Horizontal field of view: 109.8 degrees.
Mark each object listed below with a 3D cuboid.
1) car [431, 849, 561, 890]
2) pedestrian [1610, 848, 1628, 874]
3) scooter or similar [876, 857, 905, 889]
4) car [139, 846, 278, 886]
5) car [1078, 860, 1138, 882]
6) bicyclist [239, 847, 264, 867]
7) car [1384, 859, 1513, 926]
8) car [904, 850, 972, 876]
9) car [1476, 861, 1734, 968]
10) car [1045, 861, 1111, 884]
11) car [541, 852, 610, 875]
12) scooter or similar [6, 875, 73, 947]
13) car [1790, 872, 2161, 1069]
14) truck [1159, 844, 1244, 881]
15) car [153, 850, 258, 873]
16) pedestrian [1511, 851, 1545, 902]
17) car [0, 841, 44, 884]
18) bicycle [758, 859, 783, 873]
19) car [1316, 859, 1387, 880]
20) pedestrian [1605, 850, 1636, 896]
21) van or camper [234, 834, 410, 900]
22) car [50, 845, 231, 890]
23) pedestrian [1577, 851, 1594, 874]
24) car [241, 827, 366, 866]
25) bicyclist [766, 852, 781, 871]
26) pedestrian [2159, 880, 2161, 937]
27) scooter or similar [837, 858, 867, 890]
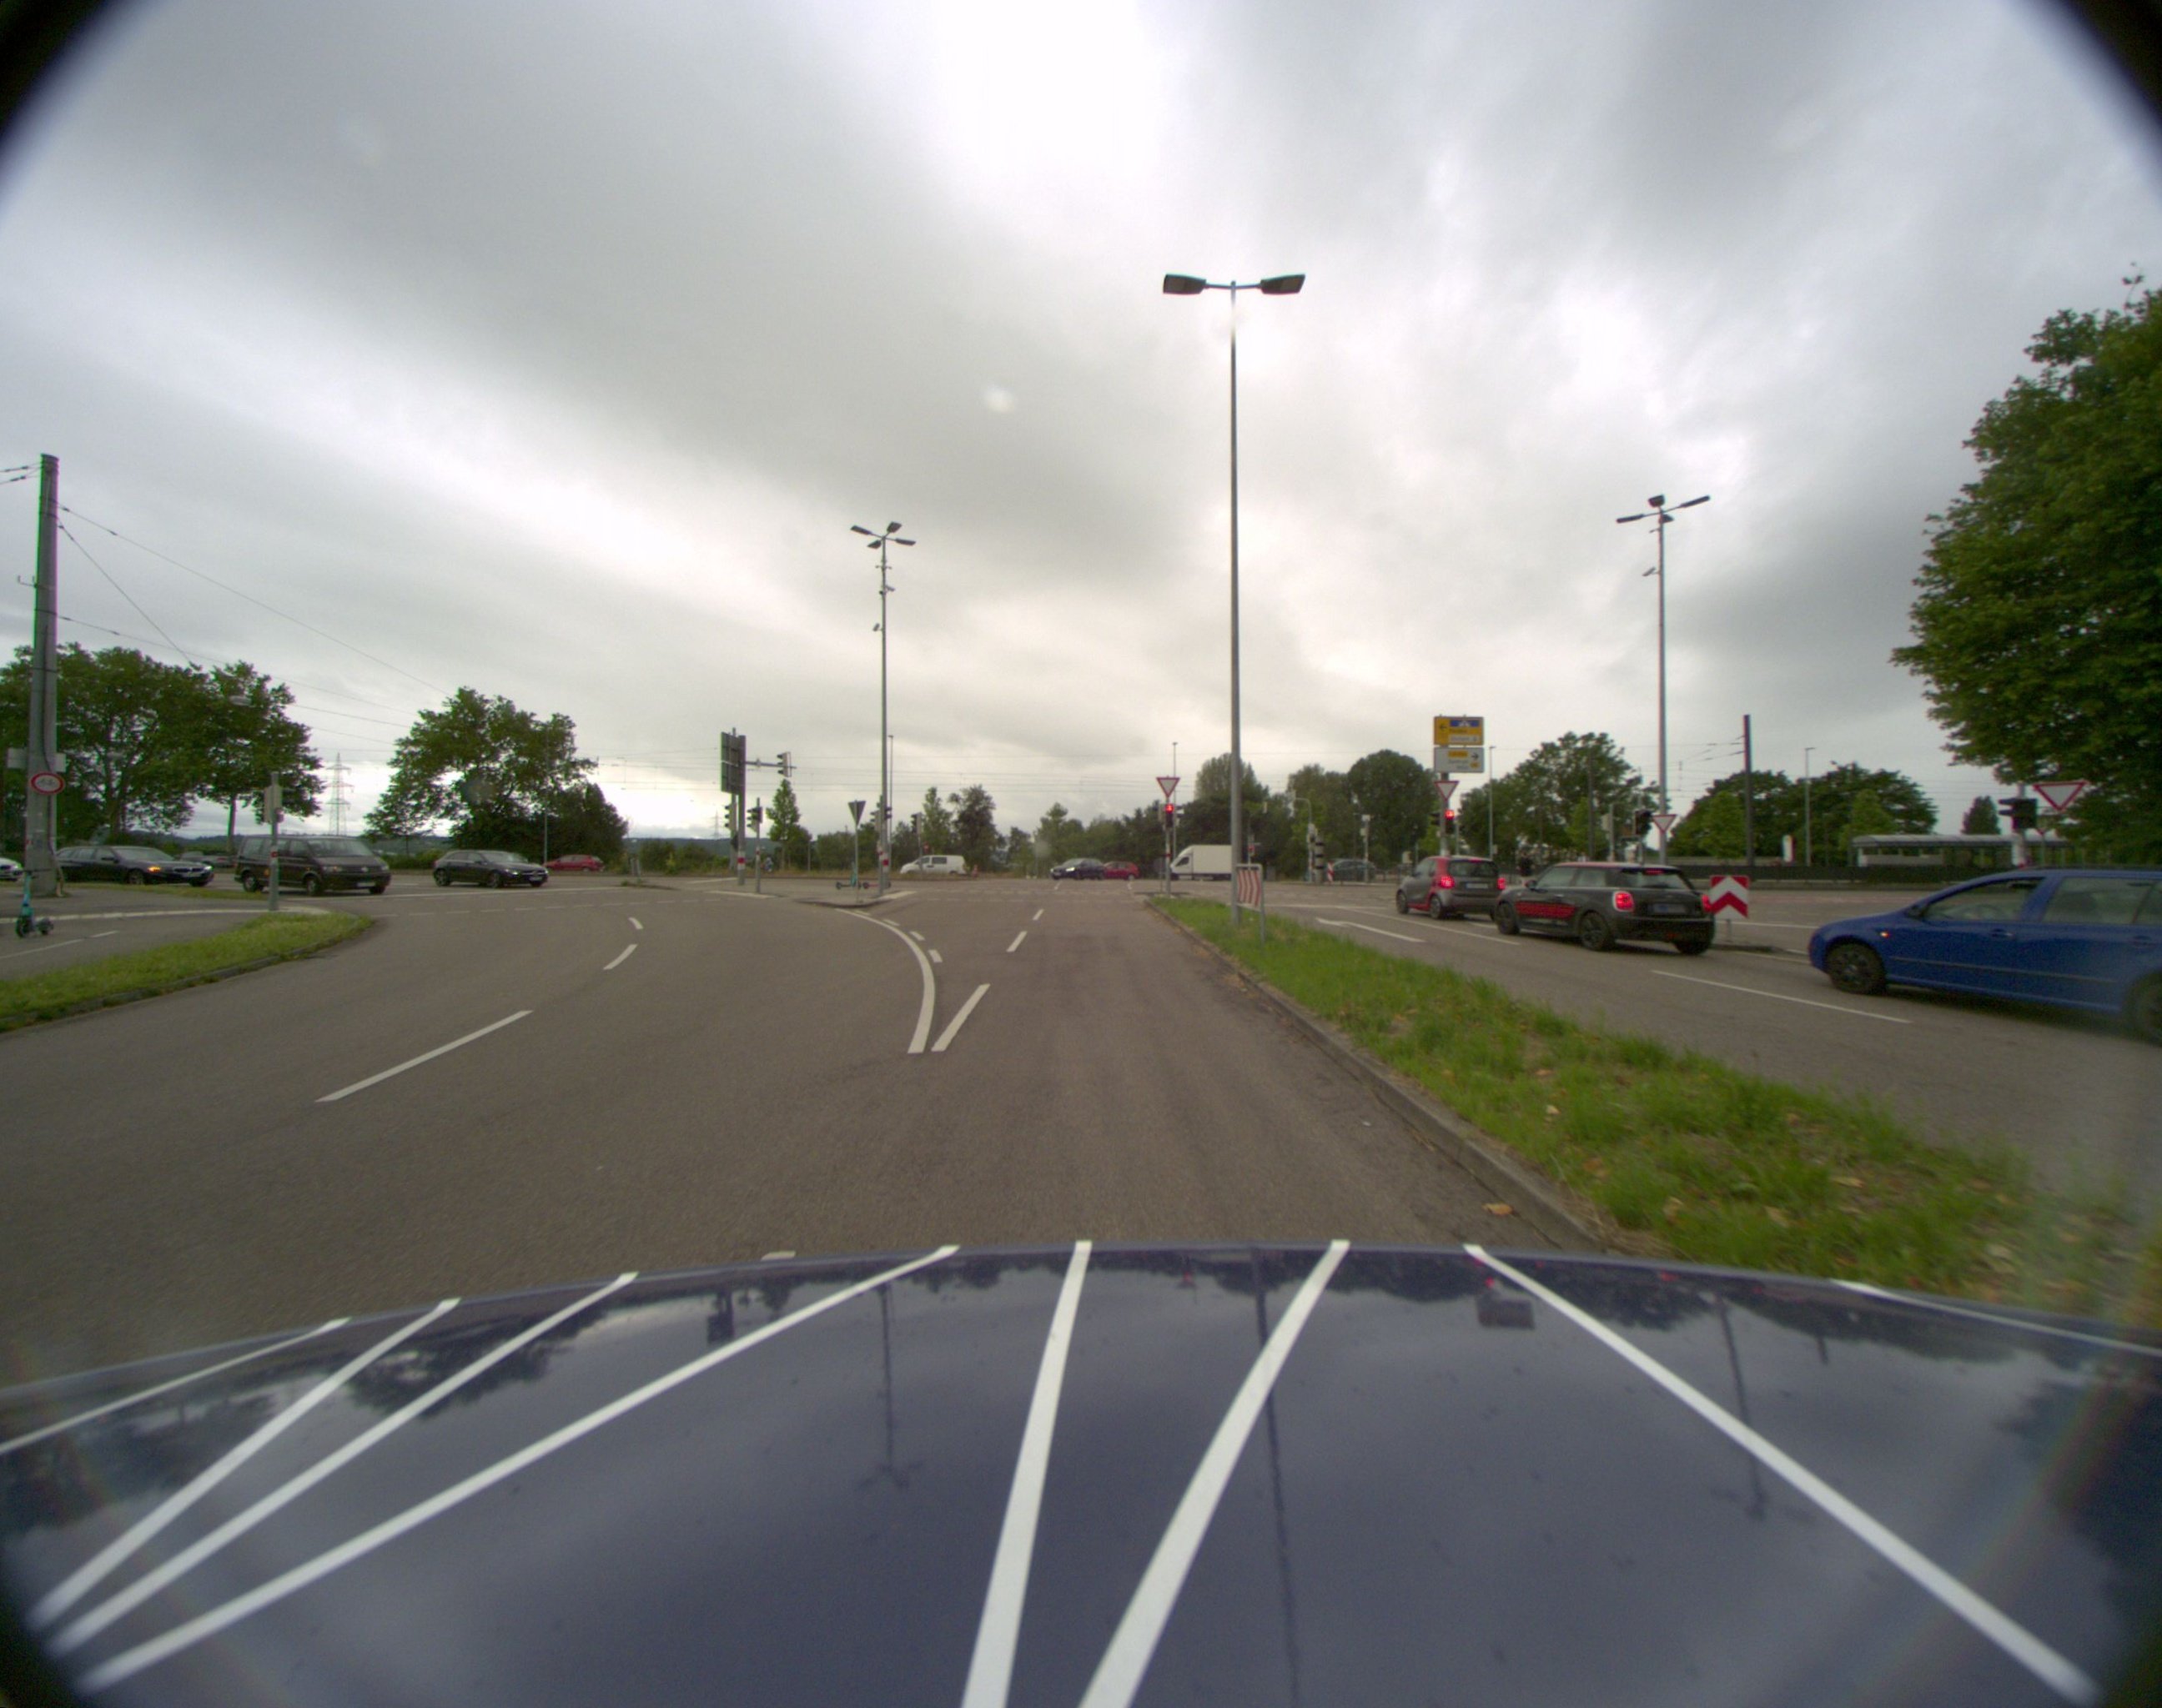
[{"bbox_3d":[-23.133,0.578,30.087,4.199,1.455,1.839,2,1,13],"label":"car"},{"bbox_3d":[36.236,0.505,51.172,0.586,1.731,0.788,-1,-2,3],"label":"pedestrian"},{"bbox_3d":[-7.625,0.768,30.428,1.016,1.248,0.465,1,1,14],"label":"scooter or similar"},{"bbox_3d":[-39.582,0.517,34.549,3.997,1.718,2.000,-1,0,0],"label":"car"},{"bbox_3d":[2.029,1.304,57.764,4.248,1.641,1.784,1,-2,-8],"label":"car"},{"bbox_3d":[-62.451,0.247,57.216,0.999,1.470,0.819,2,0,-2],"label":"bicyclist"},{"bbox_3d":[8.961,0.887,18.810,1.606,1.494,3.209,0,0,-1],"label":"car"},{"bbox_3d":[-11.217,0.731,59.808,5.121,1.868,2.099,1,-2,-10],"label":"car"},{"bbox_3d":[8.811,0.916,13.279,1.666,1.494,4.065,2,0,0],"label":"car"},{"bbox_3d":[-0.131,1.153,48.403,1.994,1.382,4.353,0,0,37],"label":"car"},{"bbox_3d":[-36.531,0.696,55.033,3.771,1.551,1.655,1,-2,-9],"label":"car"},{"bbox_3d":[-18.926,1.004,13.826,0.347,1.226,1.162,-2,2,-37],"label":"scooter or similar"},{"bbox_3d":[9.141,0.953,6.839,1.606,1.436,4.143,2,0,0],"label":"car"},{"bbox_3d":[9.772,0.738,62.252,6.539,2.905,2.829,0,-2,1],"label":"truck"},{"bbox_3d":[-57.321,0.490,49.838,4.343,1.382,1.876,1,-2,-6],"label":"car"},{"bbox_3d":[16.273,0.806,27.668,0.664,1.756,0.686,2,4,-2],"label":"pedestrian"},{"bbox_3d":[-40.378,0.294,27.221,4.043,1.529,1.734,0,-2,1],"label":"car"},{"bbox_3d":[-24.824,0.975,60.766,1.710,1.040,0.548,1,2,-12],"label":"bicycle"},{"bbox_3d":[18.802,1.070,52.920,4.369,1.400,1.678,-1,-2,-1],"label":"car"},{"bbox_3d":[20.074,0.708,28.283,0.675,1.702,0.766,0,1,5],"label":"pedestrian"},{"bbox_3d":[-25.340,0.355,25.403,4.743,2.002,2.126,1,2,17],"label":"van or camper"},{"bbox_3d":[-33.003,0.459,26.740,4.316,1.455,1.970,1,0,6],"label":"car"},{"bbox_3d":[33.671,0.570,50.681,0.632,1.550,0.711,-1,-2,2],"label":"pedestrian"},{"bbox_3d":[-55.879,-0.499,54.757,5.897,2.609,2.665,1,-2,-5],"label":"car"},{"bbox_3d":[-24.565,0.618,60.749,0.968,1.445,0.691,1,2,-12],"label":"bicyclist"},{"bbox_3d":[21.914,0.856,14.789,0.635,1.633,0.809,-1,2,-2],"label":"pedestrian"},{"bbox_3d":[-9.060,0.776,30.051,1.113,1.249,0.321,1,2,14],"label":"scooter or similar"}]
